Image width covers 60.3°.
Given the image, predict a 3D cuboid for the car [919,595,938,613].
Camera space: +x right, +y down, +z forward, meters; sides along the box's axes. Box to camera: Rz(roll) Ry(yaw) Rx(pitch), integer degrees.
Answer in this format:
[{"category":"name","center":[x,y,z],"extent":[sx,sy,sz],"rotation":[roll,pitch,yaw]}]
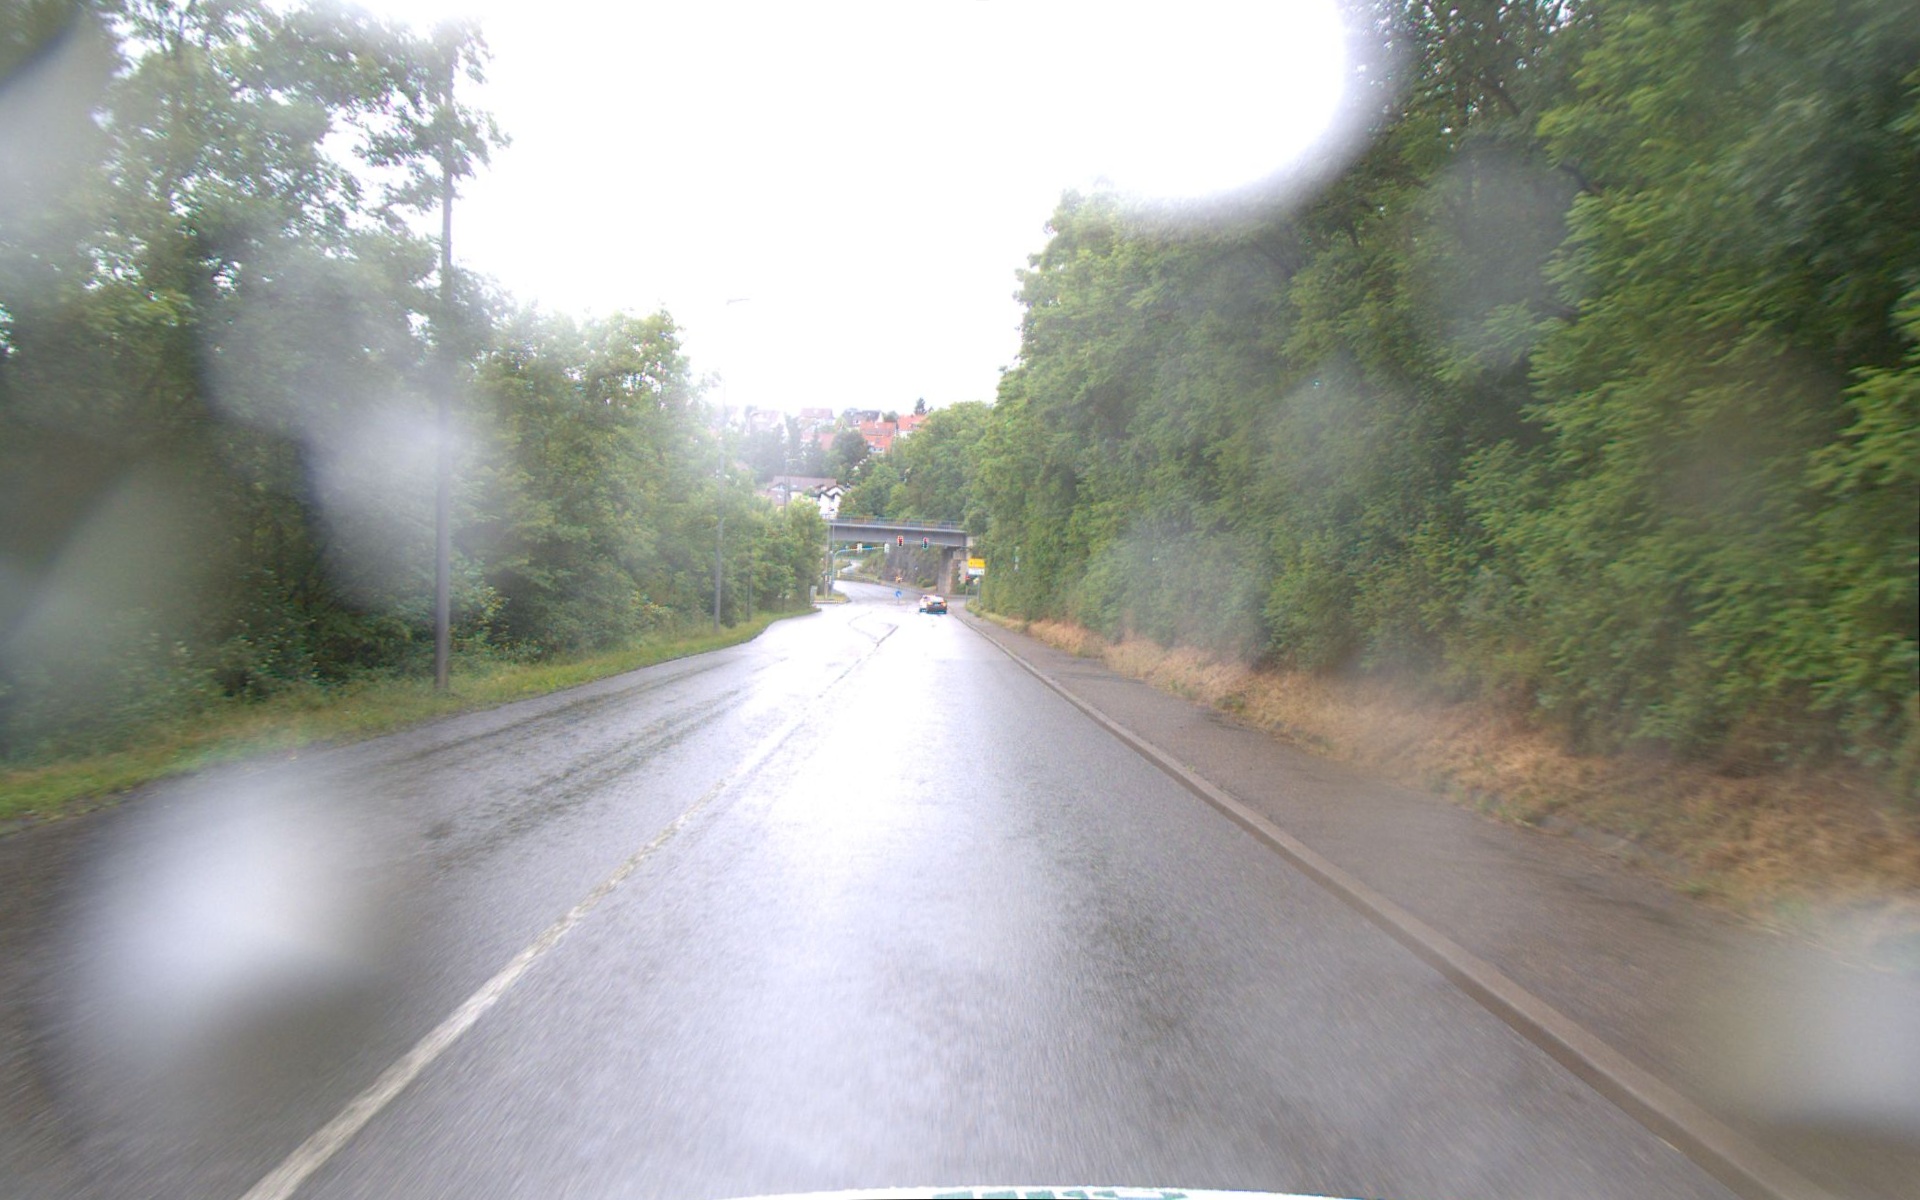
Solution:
[{"category":"car","center":[-2.832,0.352,149.276],"extent":[1.732,1.590,3.999],"rotation":[1,0,-1]}]

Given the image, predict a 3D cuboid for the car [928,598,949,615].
[{"category":"car","center":[-1.867,0.532,142.679],"extent":[1.732,1.404,3.999],"rotation":[1,0,-1]}]
